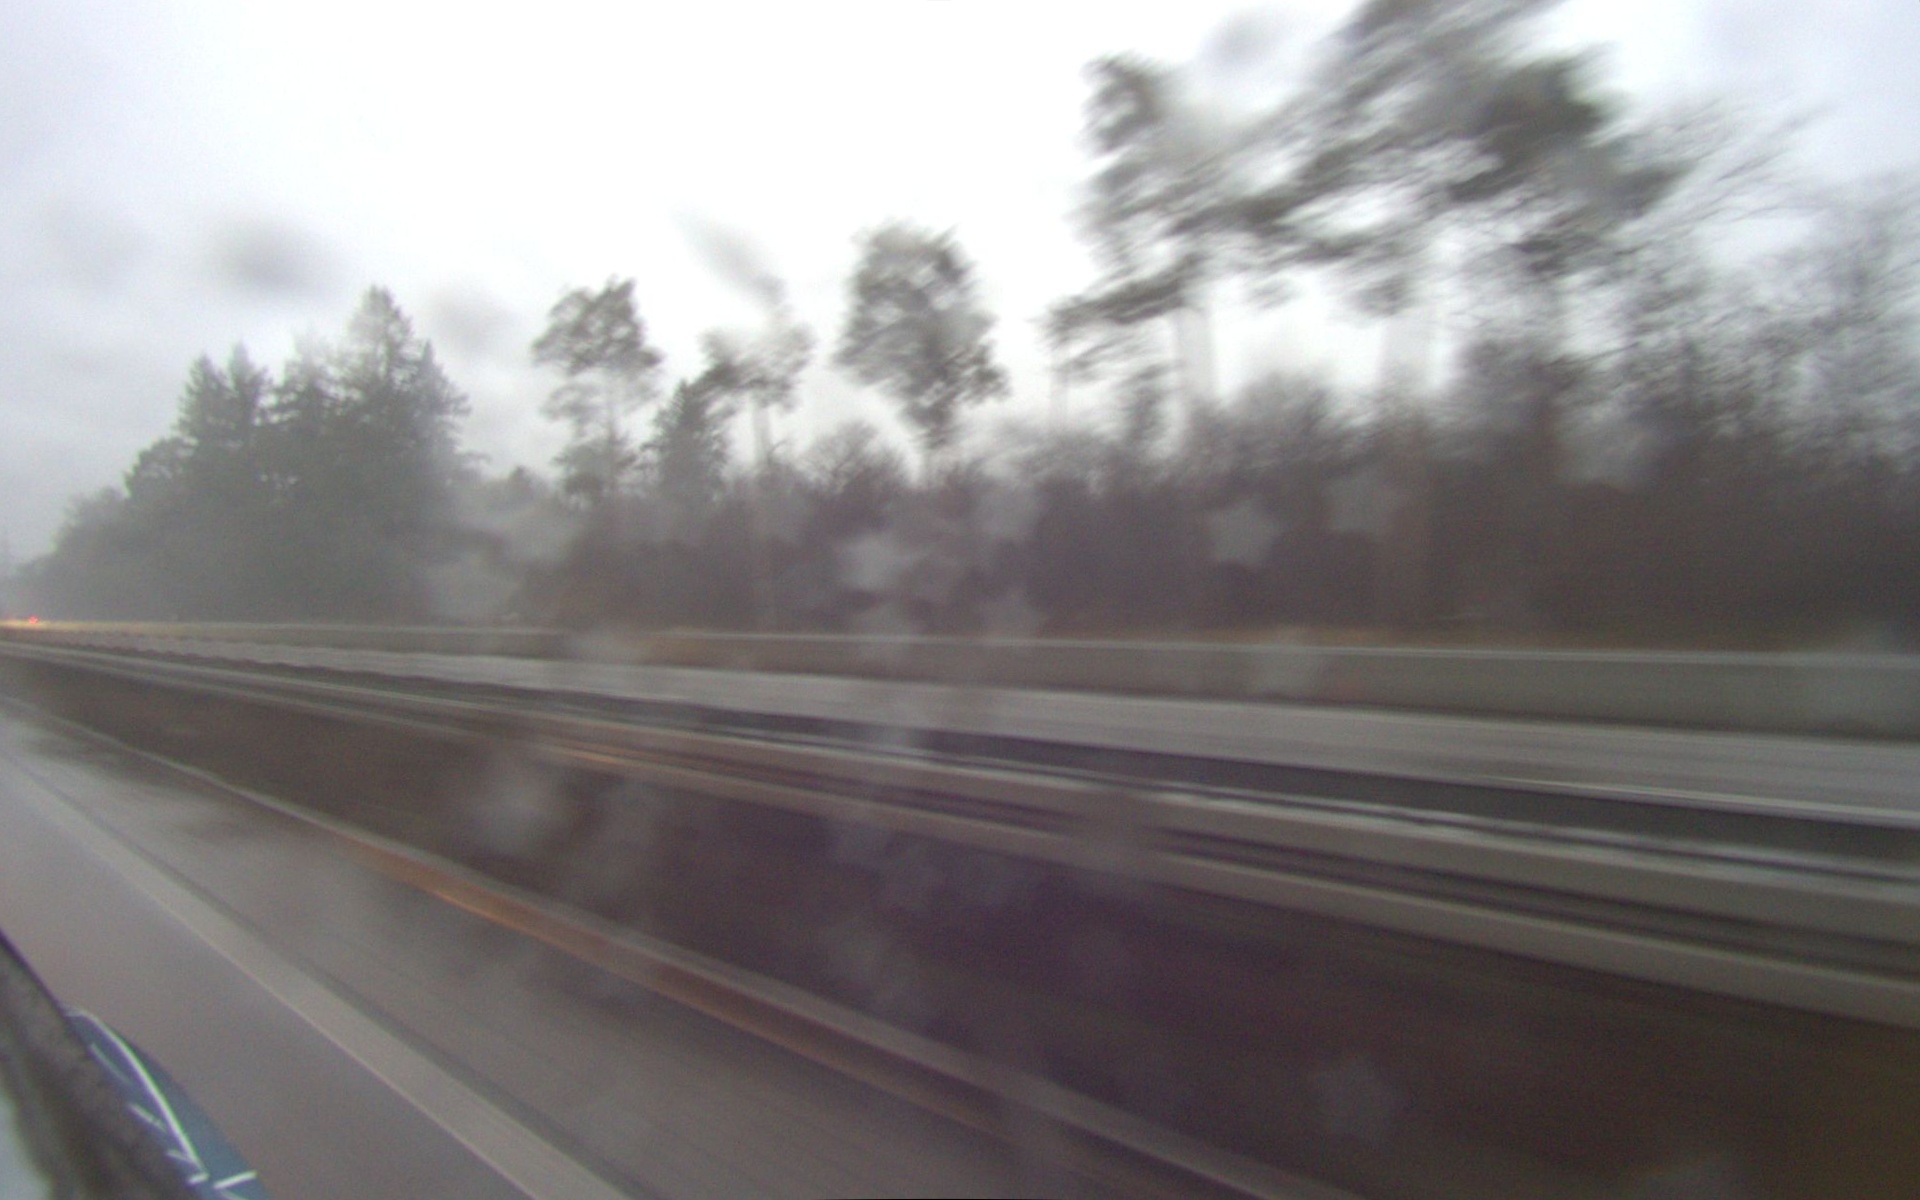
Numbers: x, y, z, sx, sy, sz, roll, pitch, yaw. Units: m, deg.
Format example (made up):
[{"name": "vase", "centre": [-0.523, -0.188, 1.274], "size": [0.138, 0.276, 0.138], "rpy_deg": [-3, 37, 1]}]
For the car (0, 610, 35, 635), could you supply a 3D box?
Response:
[{"name": "car", "centre": [-79.434, 1.893, 84.928], "size": [4.780, 2.029, 1.974], "rpy_deg": [-1, -1, 40]}]
